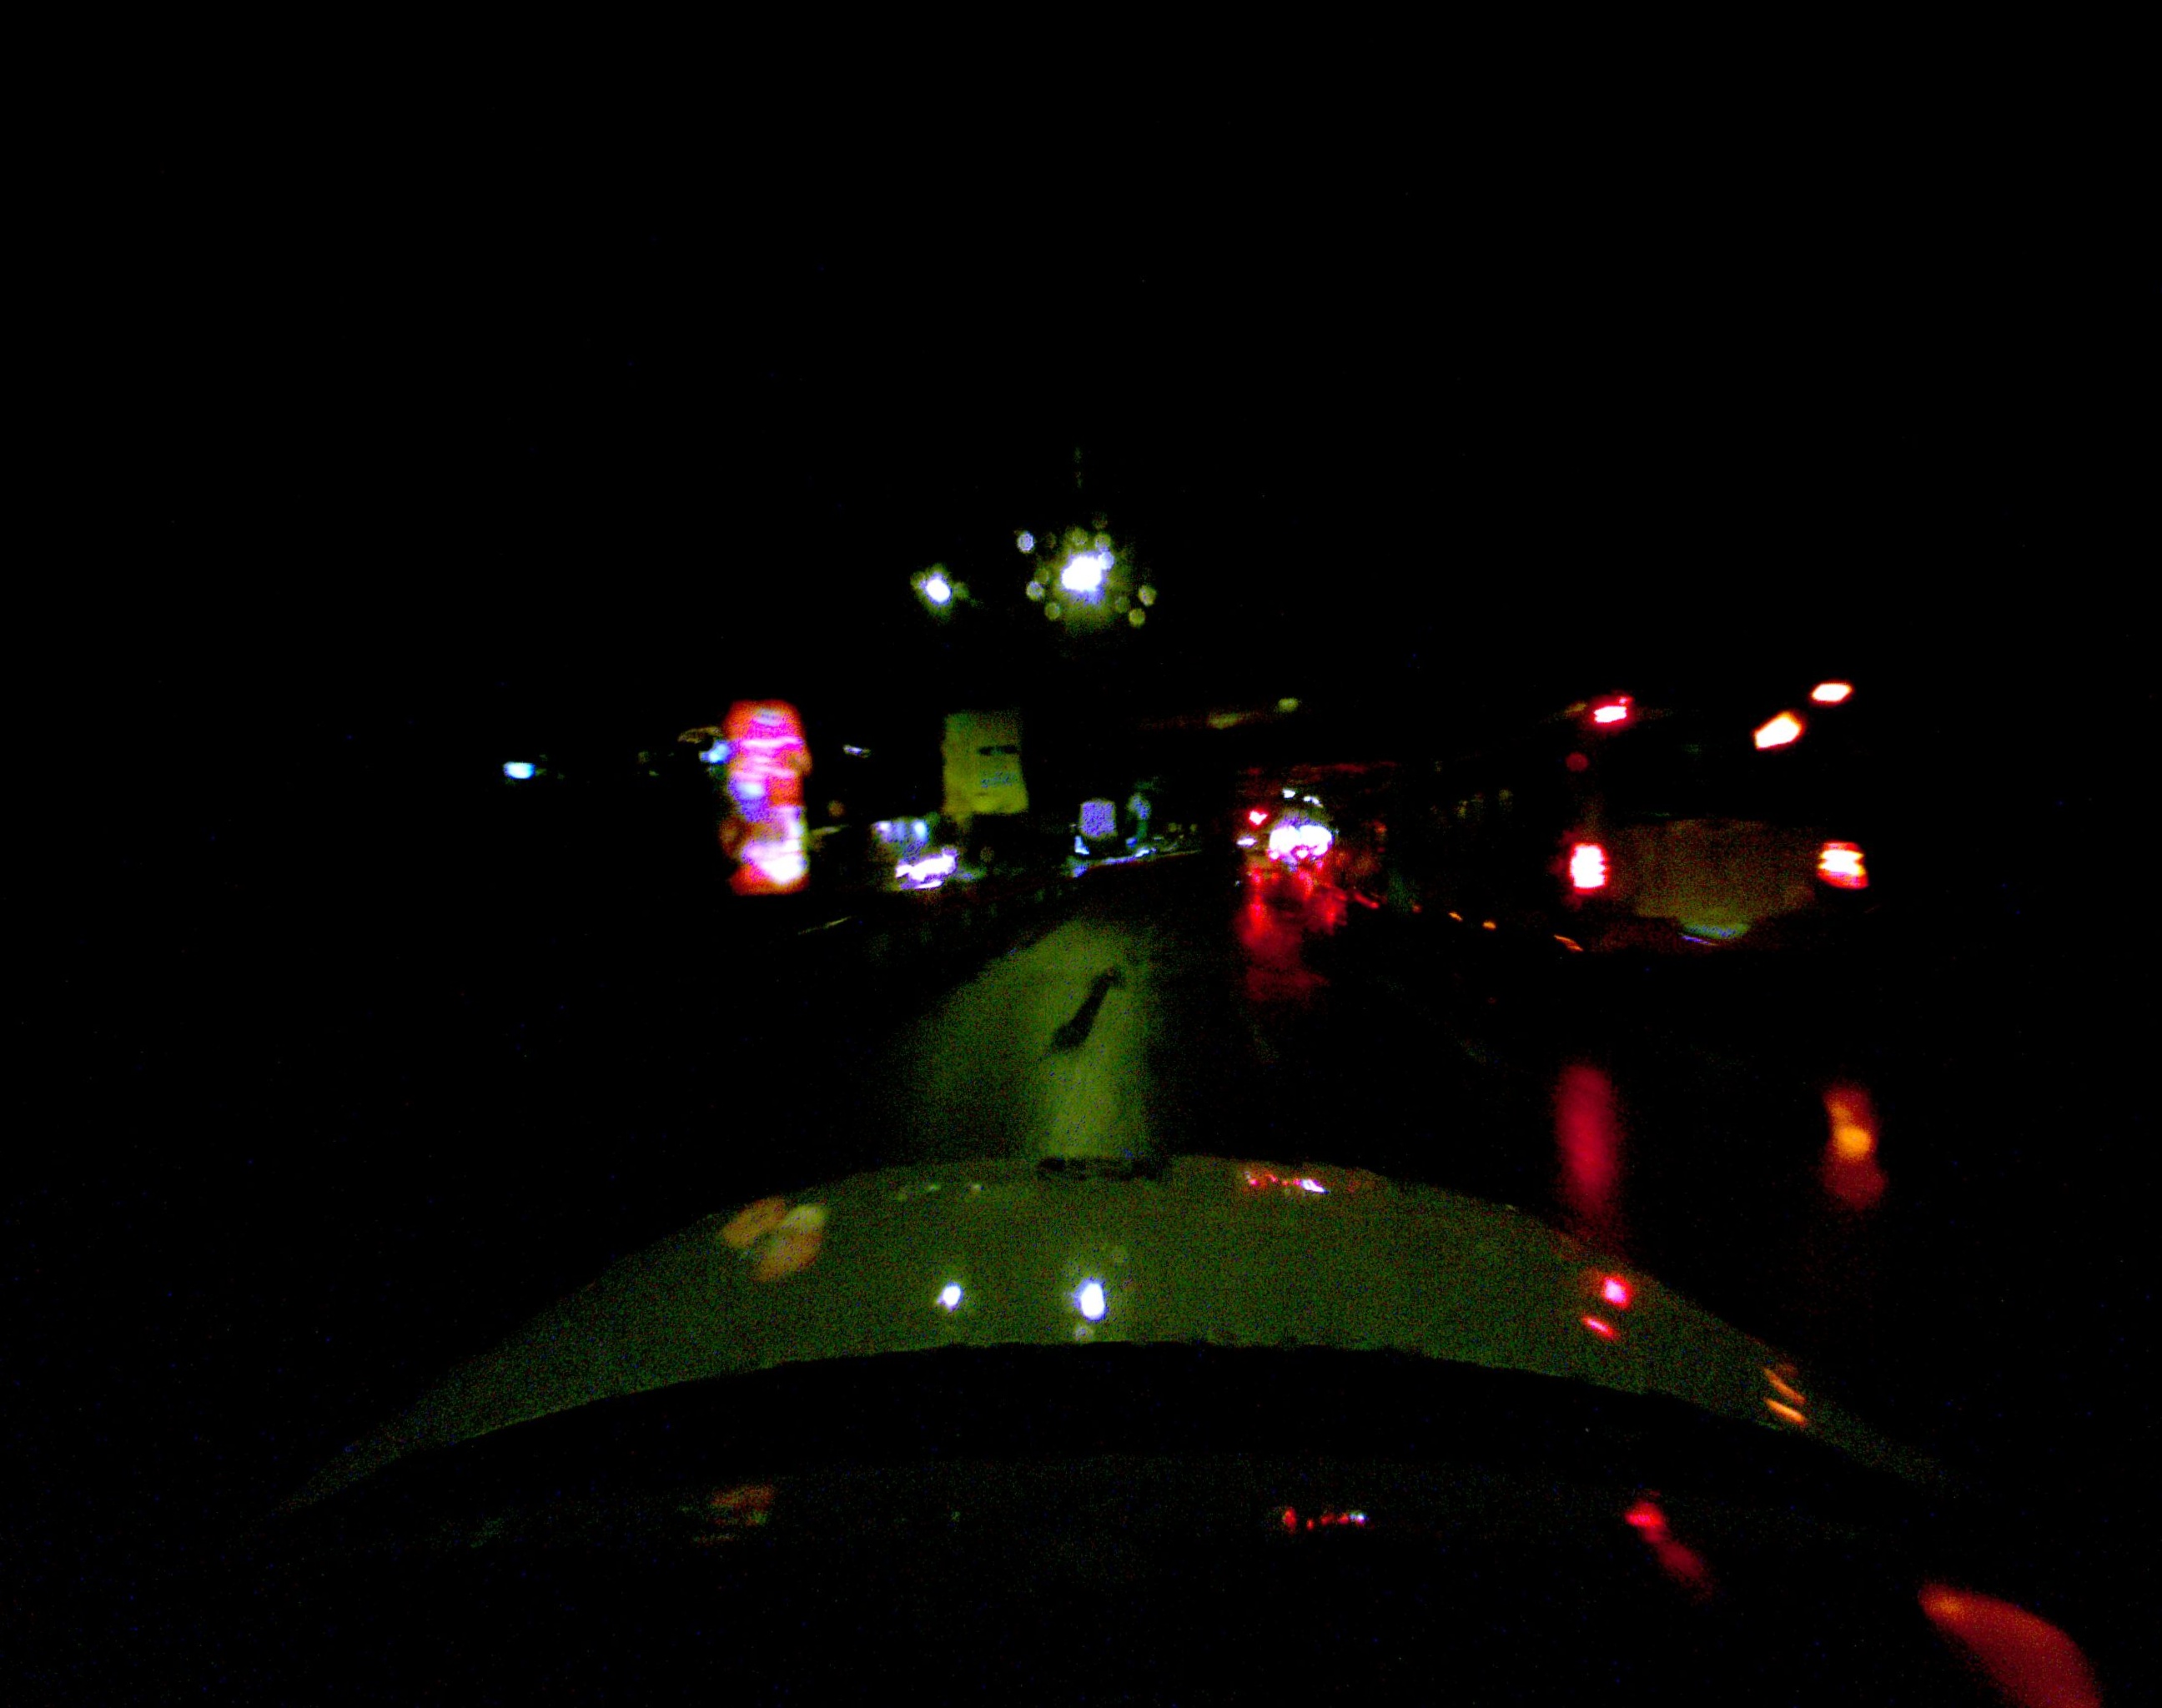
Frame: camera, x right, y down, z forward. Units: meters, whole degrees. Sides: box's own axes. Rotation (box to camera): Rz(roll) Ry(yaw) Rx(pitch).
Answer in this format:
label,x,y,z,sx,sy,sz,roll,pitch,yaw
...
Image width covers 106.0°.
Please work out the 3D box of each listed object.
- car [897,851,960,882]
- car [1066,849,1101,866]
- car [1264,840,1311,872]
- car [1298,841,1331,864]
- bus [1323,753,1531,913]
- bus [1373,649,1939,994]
label,x,y,z,sx,sy,sz,roll,pitch,yaw
car,-7.297,0.574,39.377,1.556,1.427,3.965,0,0,12
car,0.213,0.276,65.534,1.841,1.288,4.148,-1,0,14
car,11.403,0.076,44.802,1.771,1.684,4.023,-1,0,25
car,17.841,-0.127,62.121,1.771,1.684,4.023,-1,0,25
bus,8.450,-0.467,21.293,3.024,3.212,9.077,-2,0,10
bus,7.068,-0.325,12.310,3.027,3.212,9.068,-2,0,7
